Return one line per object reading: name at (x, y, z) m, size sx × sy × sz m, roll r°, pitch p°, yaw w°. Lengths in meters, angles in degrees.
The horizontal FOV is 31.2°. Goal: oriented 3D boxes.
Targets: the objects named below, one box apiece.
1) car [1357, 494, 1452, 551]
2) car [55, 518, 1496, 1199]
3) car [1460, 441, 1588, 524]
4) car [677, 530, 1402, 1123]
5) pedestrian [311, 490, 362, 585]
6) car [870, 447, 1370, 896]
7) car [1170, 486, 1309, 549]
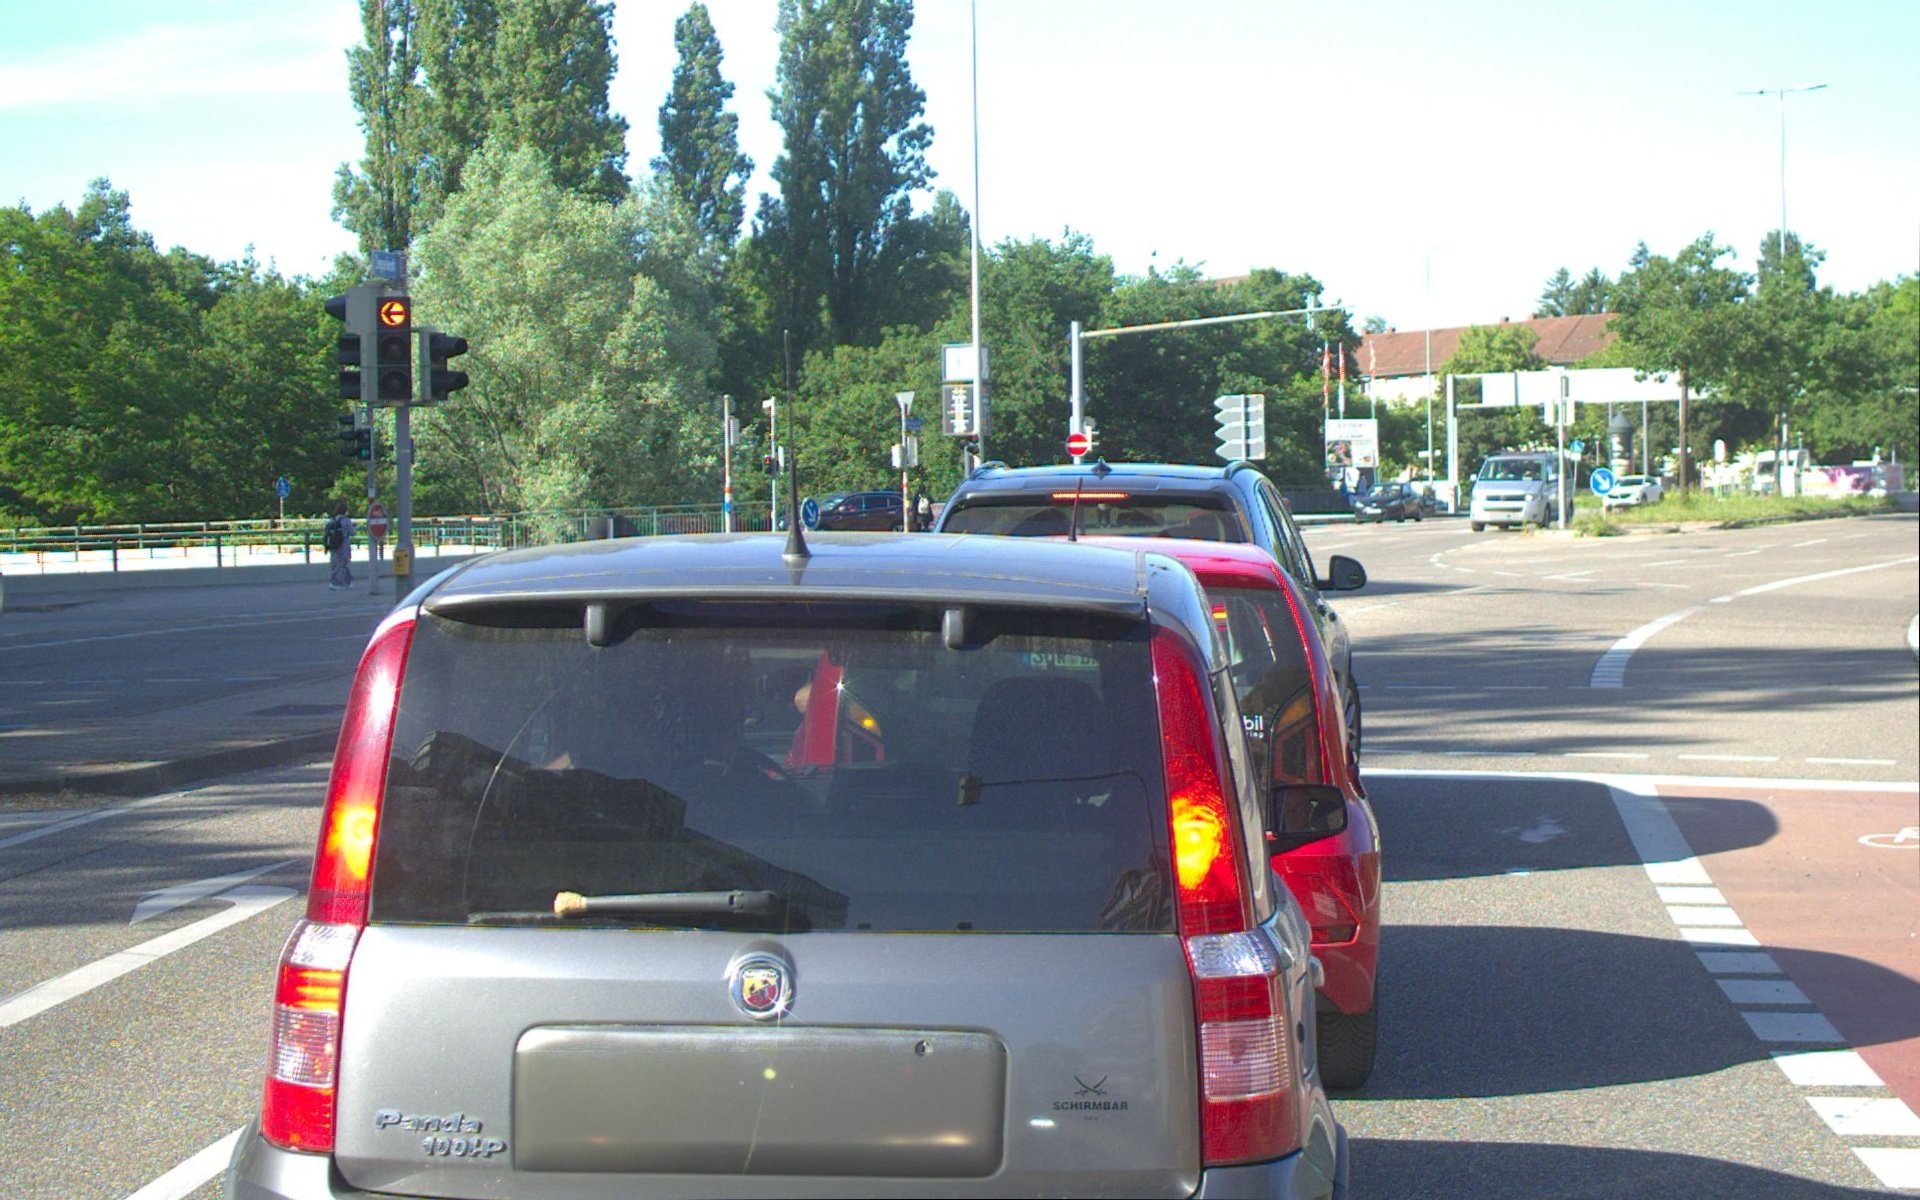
car at (15.787, -2.726, 121.983) m, size 2.015 × 1.848 × 4.880 m, roll 0°, pitch -1°, yaw 24°
car at (-0.146, 0.624, 6.373) m, size 1.820 × 1.484 × 4.000 m, roll 2°, pitch 2°, yaw 3°
car at (14.265, -2.929, 86.676) m, size 2.015 × 1.848 × 4.880 m, roll 0°, pitch -1°, yaw 24°
car at (0.278, 0.532, 10.729) m, size 1.820 × 1.474 × 4.000 m, roll 1°, pitch 1°, yaw 2°
pedestrian at (-10.805, -1.073, 59.628) m, size 0.686 × 1.533 × 1.366 m, roll 0°, pitch -4°, yaw -3°
car at (0.896, 0.211, 16.104) m, size 1.869 × 1.784 × 4.413 m, roll 1°, pitch 2°, yaw 9°
car at (8.908, -2.592, 109.144) m, size 2.017 × 1.848 × 4.875 m, roll 0°, pitch -1°, yaw 39°
